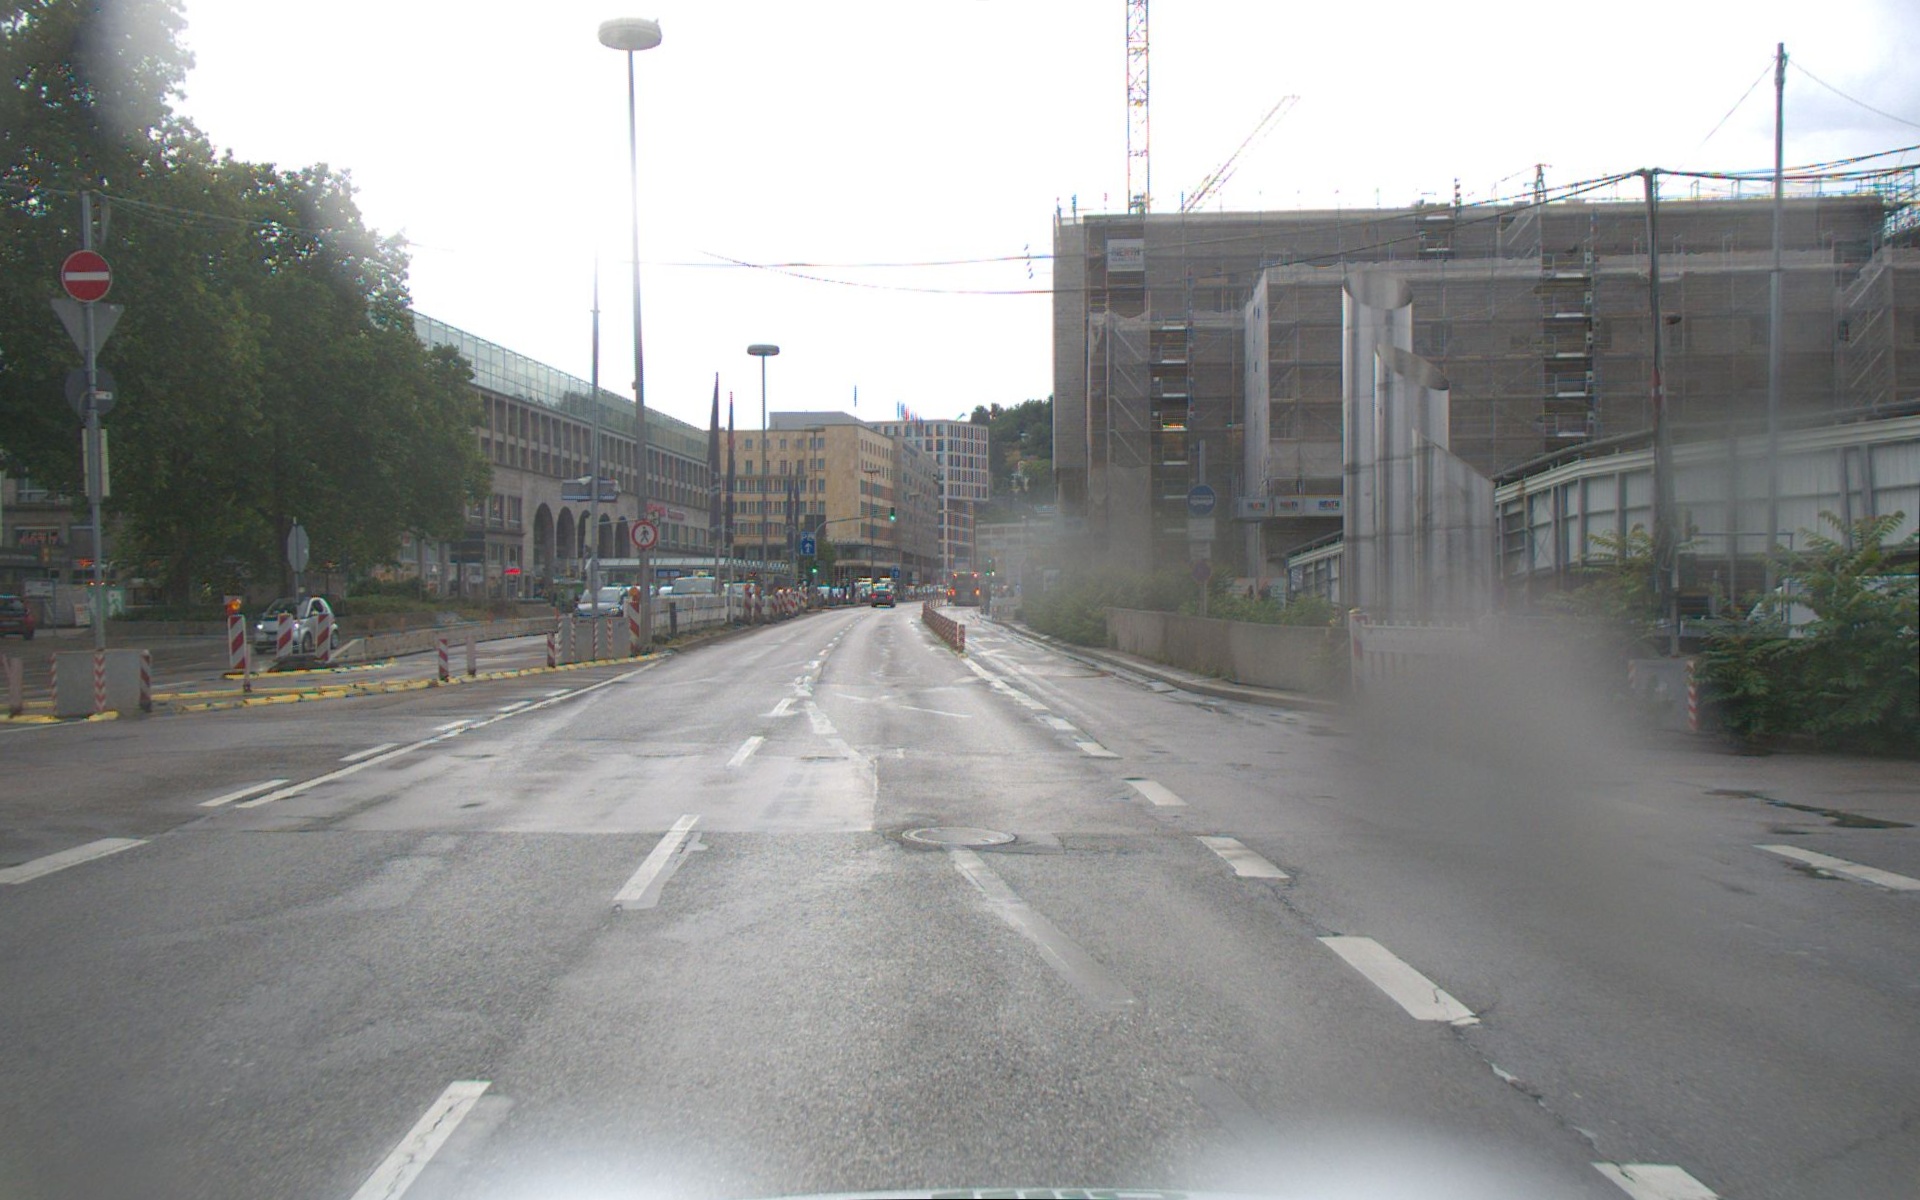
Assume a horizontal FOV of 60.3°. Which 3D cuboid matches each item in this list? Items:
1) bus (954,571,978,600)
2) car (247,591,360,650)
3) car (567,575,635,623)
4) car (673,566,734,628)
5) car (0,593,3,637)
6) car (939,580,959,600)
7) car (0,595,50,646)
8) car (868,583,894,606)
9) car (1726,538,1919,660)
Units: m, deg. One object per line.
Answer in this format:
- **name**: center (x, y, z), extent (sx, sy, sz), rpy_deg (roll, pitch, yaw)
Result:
- **bus**: center (0.588, -1.376, 155.863), extent (1.952, 2.474, 4.001), rpy_deg (-3, -2, 4)
- **car**: center (-19.163, 0.633, 48.456), extent (1.865, 1.554, 4.173), rpy_deg (-3, -2, -4)
- **car**: center (-13.386, -0.012, 61.862), extent (1.865, 1.554, 4.173), rpy_deg (-3, -2, -4)
- **car**: center (-9.608, -0.080, 62.253), extent (1.865, 2.119, 4.173), rpy_deg (-3, -2, -4)
- **car**: center (-36.195, 0.670, 59.876), extent (1.893, 1.554, 3.942), rpy_deg (-1, -2, -42)
- **car**: center (-1.216, -1.154, 188.288), extent (1.952, 2.049, 4.001), rpy_deg (-3, -2, 2)
- **car**: center (-32.248, 0.728, 55.740), extent (1.893, 1.554, 3.942), rpy_deg (-1, -2, -42)
- **car**: center (-6.377, -0.427, 133.093), extent (1.865, 1.554, 4.173), rpy_deg (-3, -2, -4)
- **car**: center (17.132, -0.048, 30.714), extent (2.336, 2.169, 4.800), rpy_deg (-1, 2, -44)
